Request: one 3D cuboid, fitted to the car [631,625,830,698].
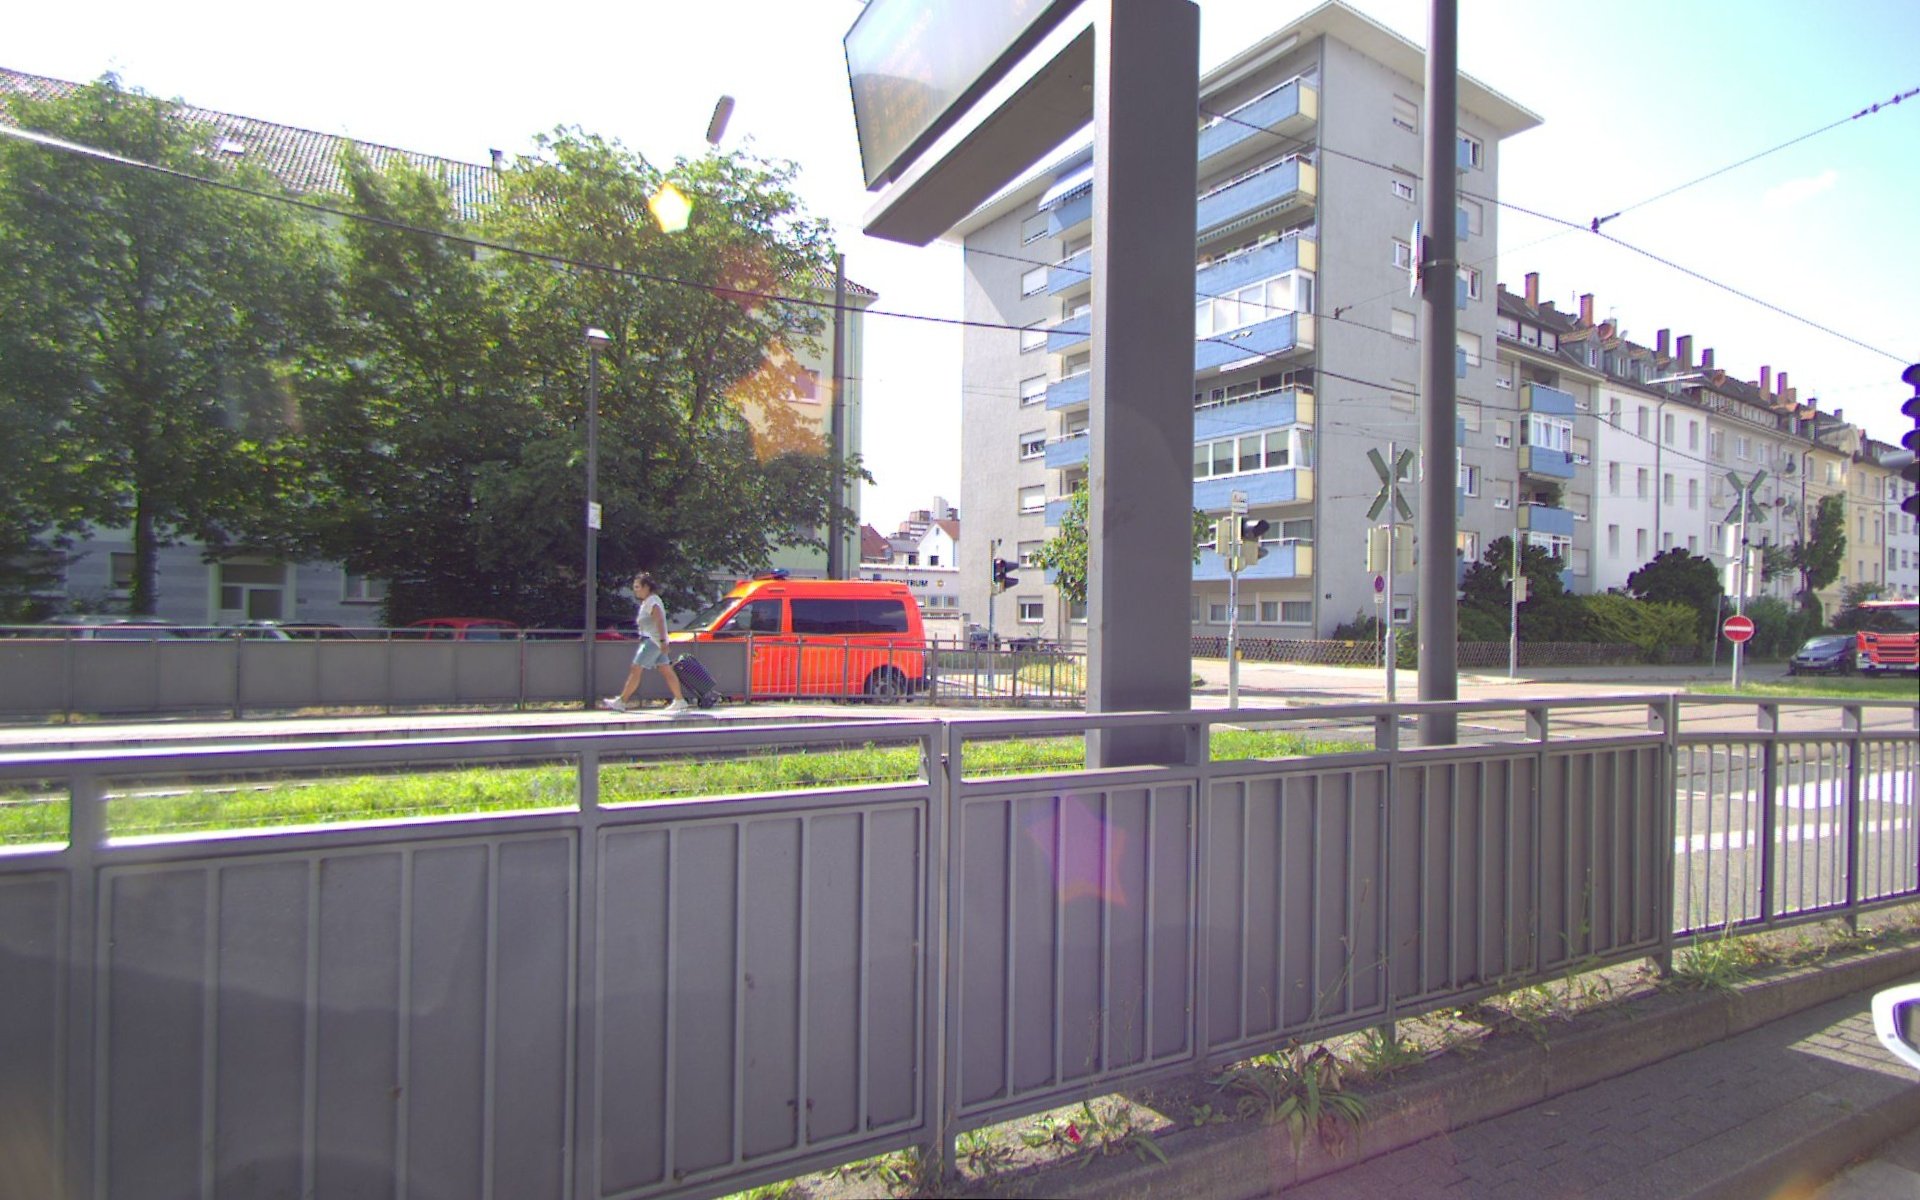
[{"bbox_3d":[-4.988,1.276,21.810,4.055,1.413,1.608,0,-1,24],"label":"car"}]

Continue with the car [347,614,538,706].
[{"bbox_3d":[-9.985,1.086,19.324,3.603,1.600,1.645,0,-1,32],"label":"car"}]

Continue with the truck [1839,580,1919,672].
[{"bbox_3d":[36.808,1.034,38.367,8.291,3.228,2.581,2,0,-33],"label":"truck"}]

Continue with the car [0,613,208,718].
[{"bbox_3d":[-14.207,0.998,16.556,3.959,1.534,1.605,0,-1,33],"label":"car"}]

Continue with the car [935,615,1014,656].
[{"bbox_3d":[0.644,1.639,47.547,1.976,1.706,3.968,2,0,-30],"label":"car"}]

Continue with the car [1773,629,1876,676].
[{"bbox_3d":[34.270,2.070,39.791,3.956,1.667,1.982,2,0,-32],"label":"car"}]

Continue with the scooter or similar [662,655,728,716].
[{"bbox_3d":[-3.239,1.036,12.269,0.692,0.708,0.440,1,-1,-29],"label":"scooter or similar"}]

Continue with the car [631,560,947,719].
[{"bbox_3d":[-2.773,0.674,16.562,4.774,2.305,1.986,1,-3,-29],"label":"car"}]

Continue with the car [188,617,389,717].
[{"bbox_3d":[-12.061,1.120,18.000,3.603,1.600,1.645,0,-1,32],"label":"car"}]

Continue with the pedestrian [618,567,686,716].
[{"bbox_3d":[-3.630,0.479,11.824,0.624,1.686,0.657,1,-1,-29],"label":"pedestrian"}]
